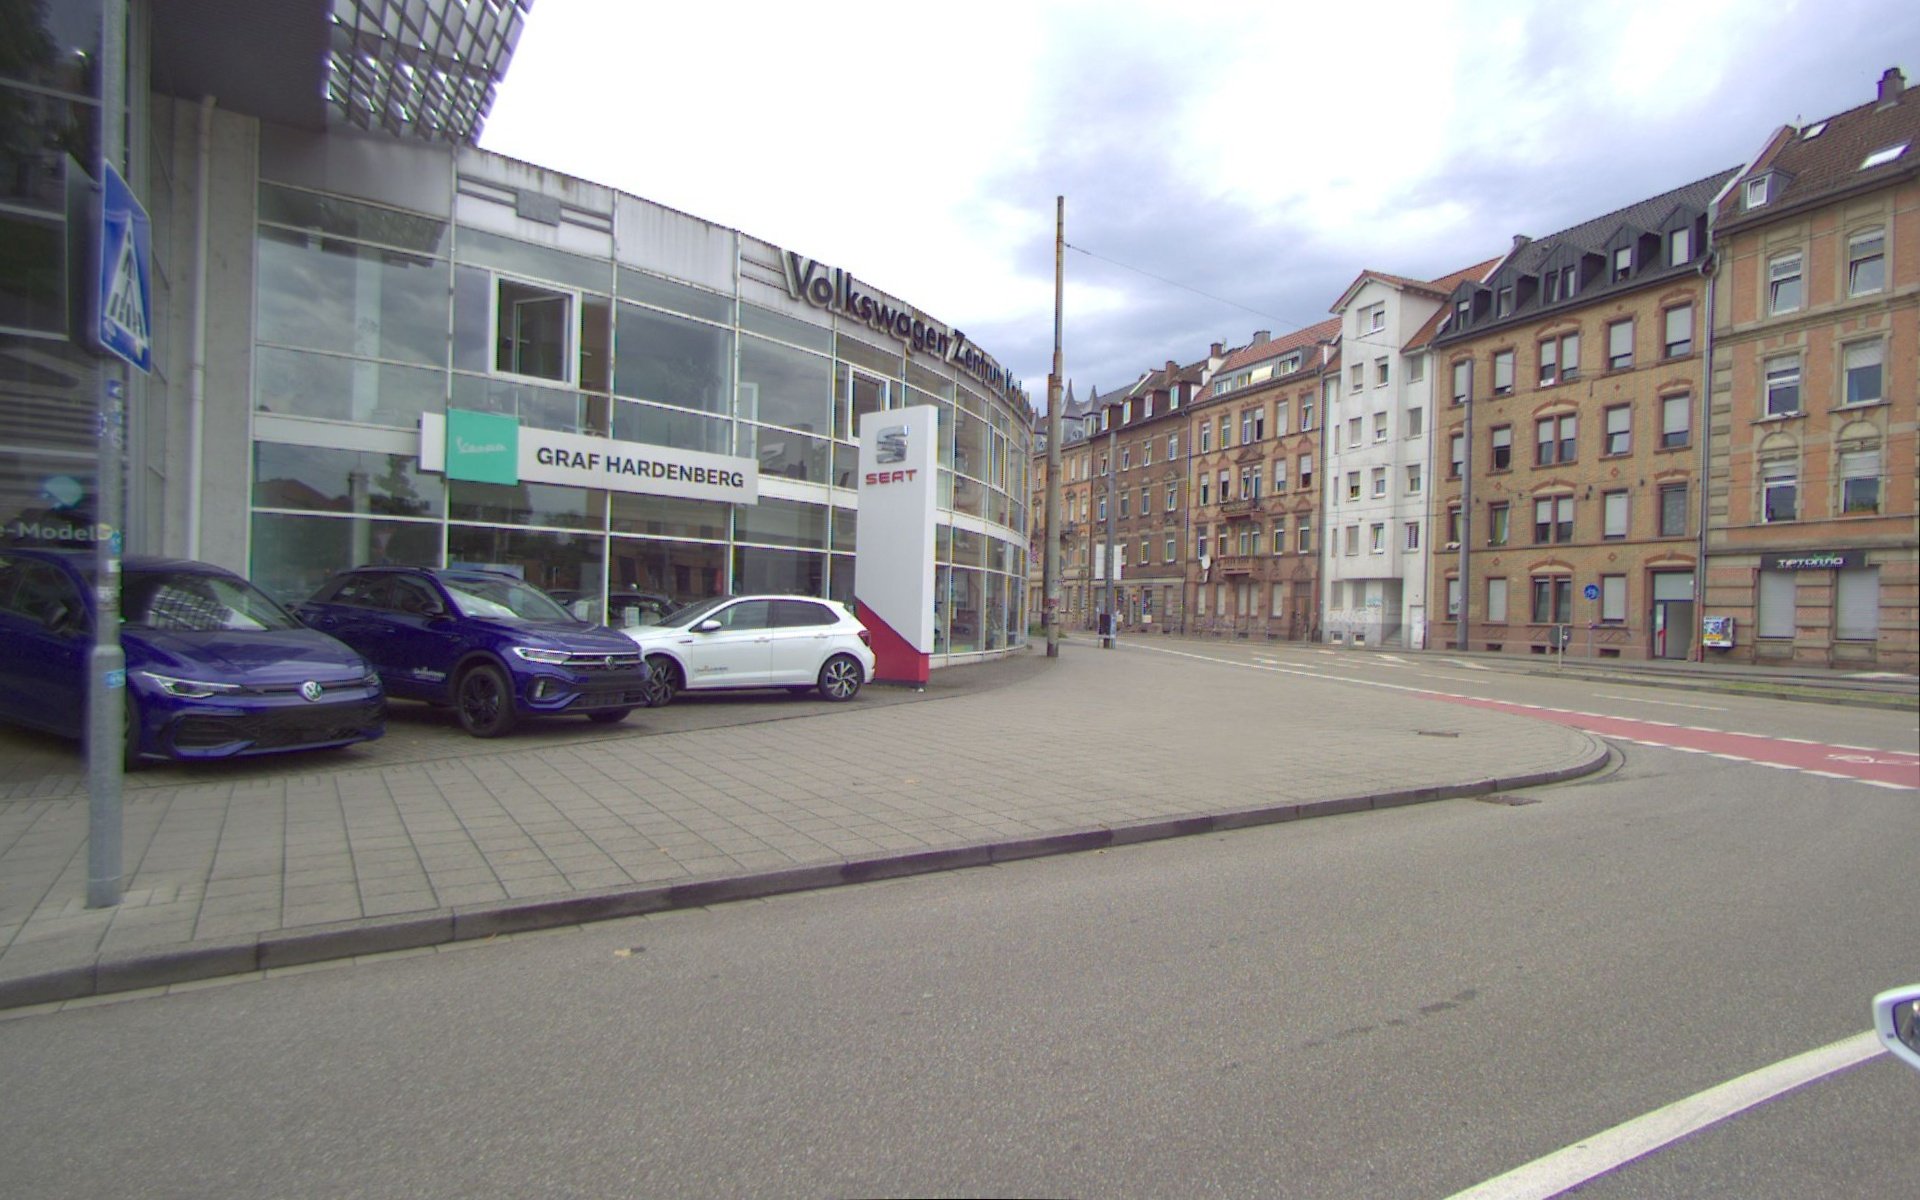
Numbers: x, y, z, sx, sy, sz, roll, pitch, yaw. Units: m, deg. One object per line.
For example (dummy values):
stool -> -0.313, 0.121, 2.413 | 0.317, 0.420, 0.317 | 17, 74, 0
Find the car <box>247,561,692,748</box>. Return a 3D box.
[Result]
car -> -5.114, 0.464, 10.503 | 4.139, 1.583, 1.901 | 2, 0, 23

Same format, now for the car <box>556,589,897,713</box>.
car -> -3.141, 0.658, 13.768 | 4.216, 1.472, 1.768 | 2, -1, -32

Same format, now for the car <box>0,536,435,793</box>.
car -> -6.623, 0.342, 8.083 | 4.254, 1.524, 1.858 | 4, 1, 21
